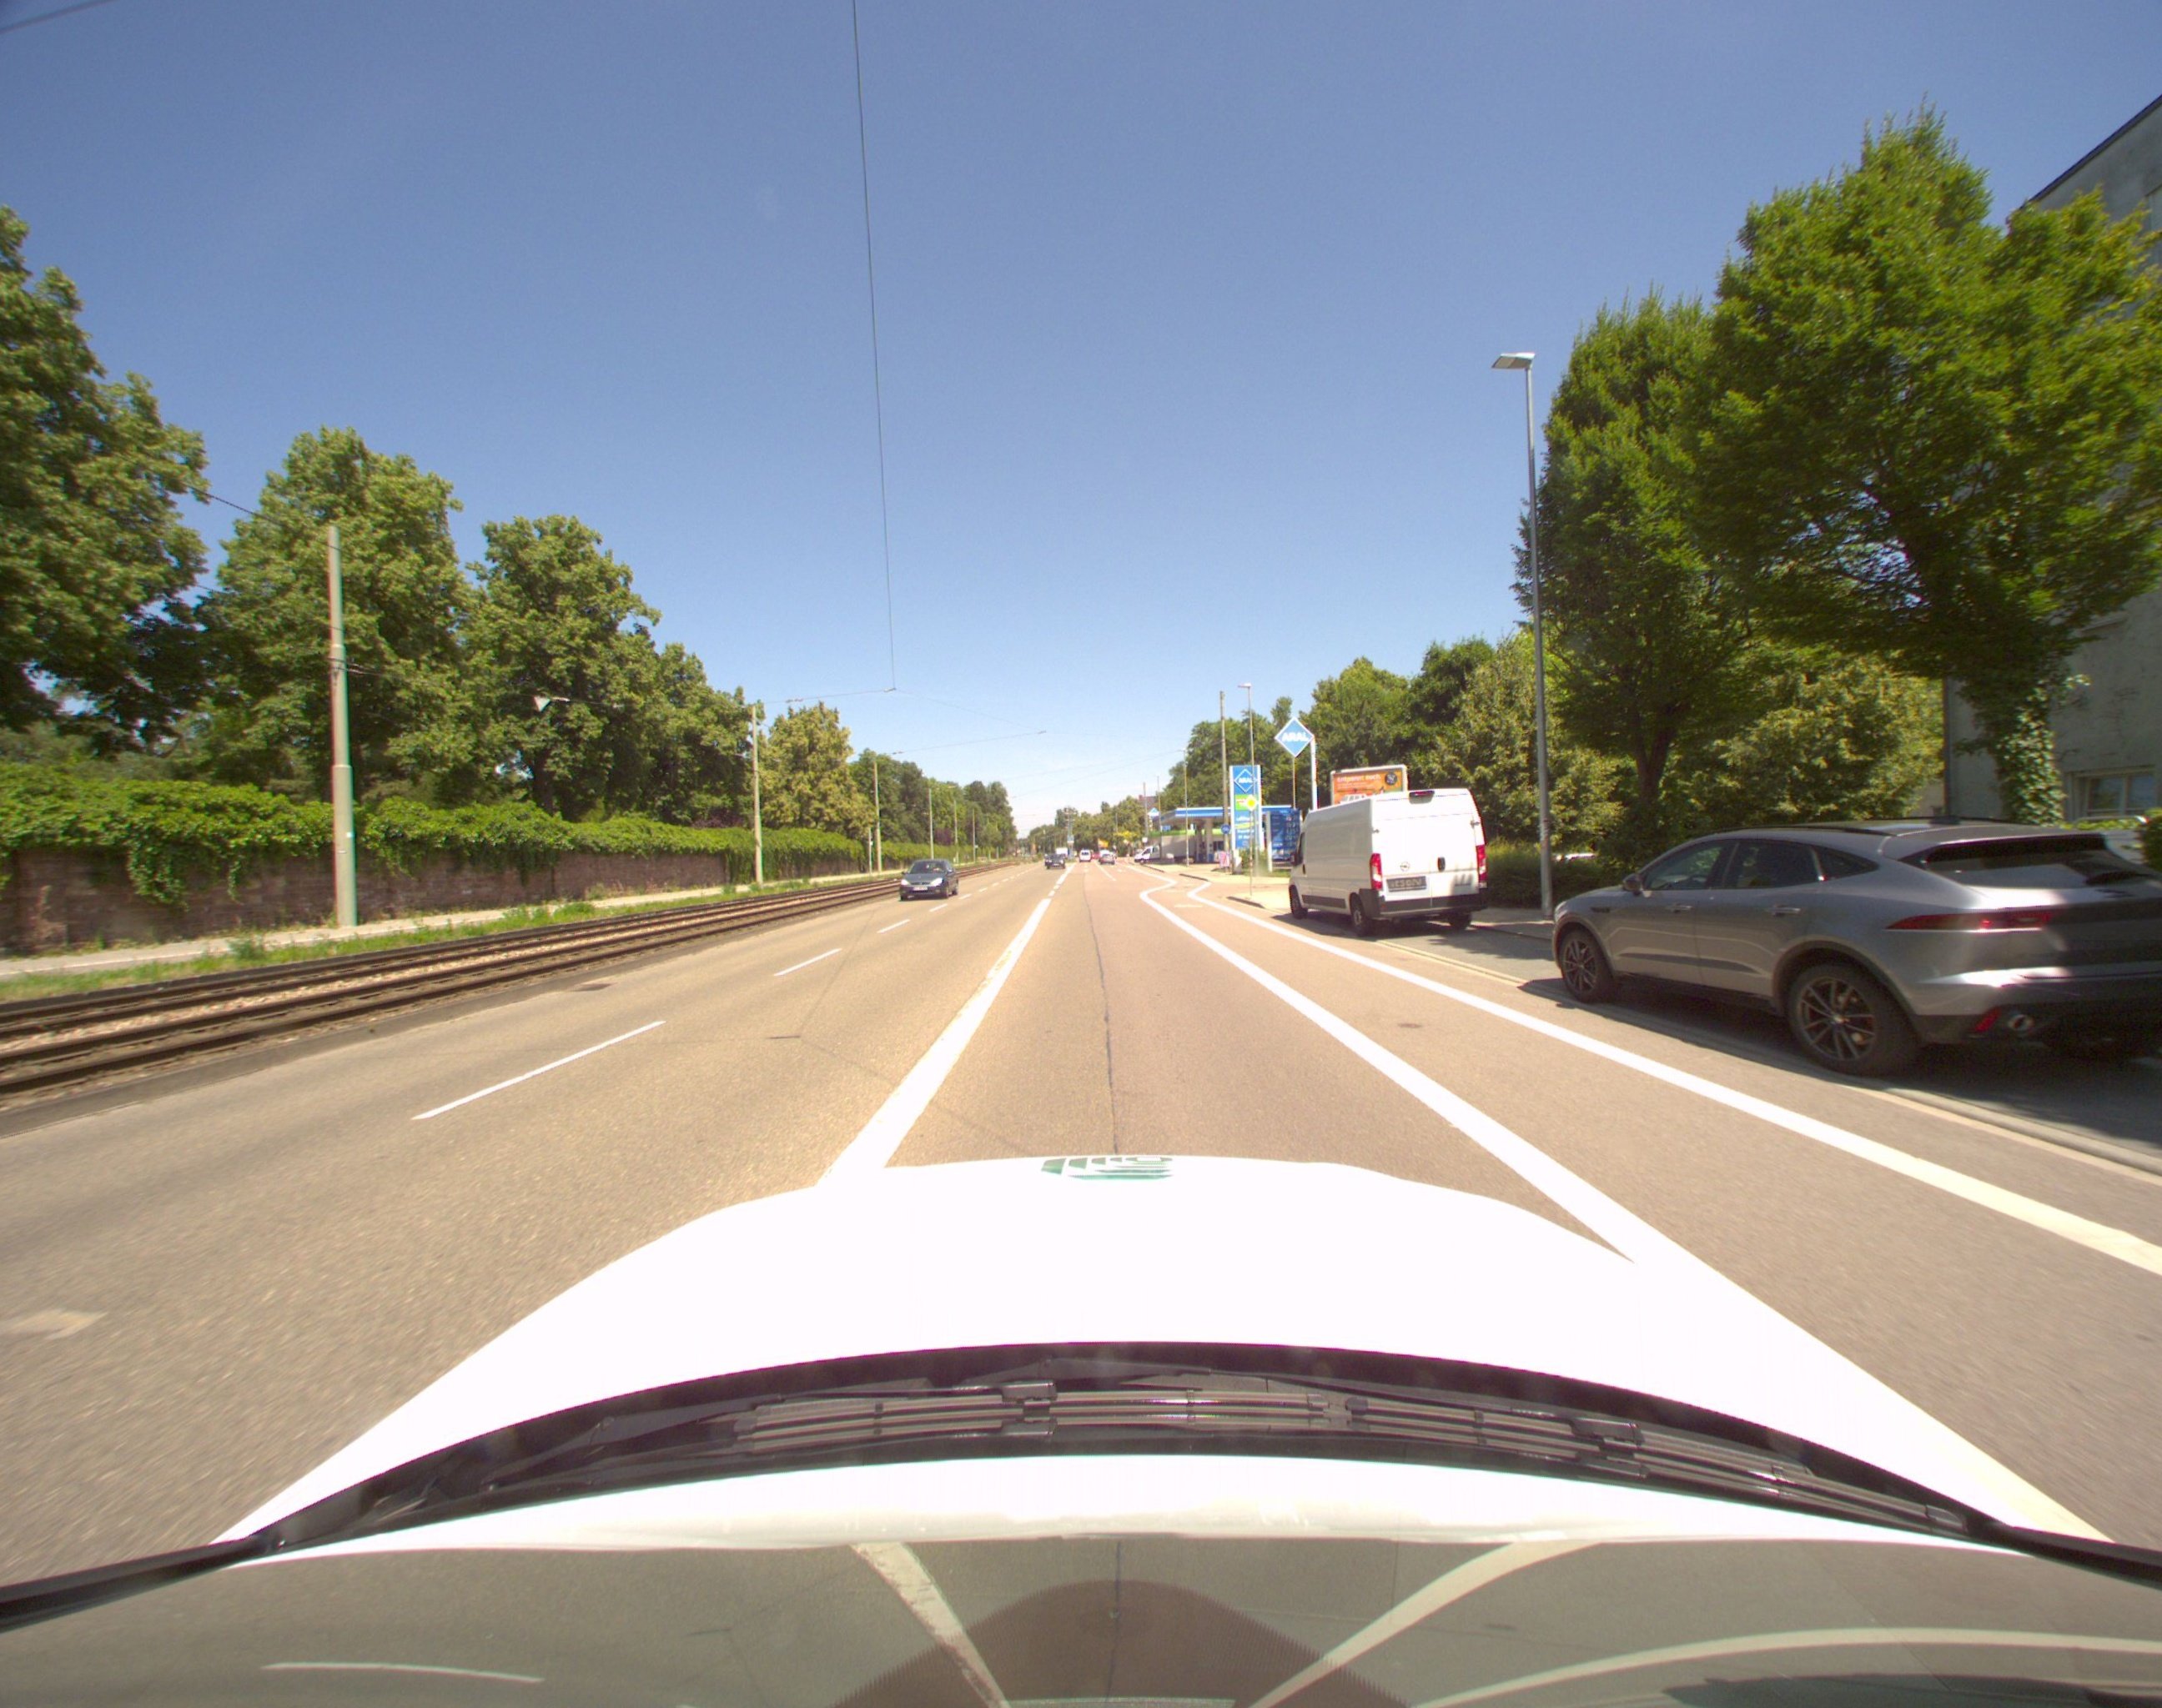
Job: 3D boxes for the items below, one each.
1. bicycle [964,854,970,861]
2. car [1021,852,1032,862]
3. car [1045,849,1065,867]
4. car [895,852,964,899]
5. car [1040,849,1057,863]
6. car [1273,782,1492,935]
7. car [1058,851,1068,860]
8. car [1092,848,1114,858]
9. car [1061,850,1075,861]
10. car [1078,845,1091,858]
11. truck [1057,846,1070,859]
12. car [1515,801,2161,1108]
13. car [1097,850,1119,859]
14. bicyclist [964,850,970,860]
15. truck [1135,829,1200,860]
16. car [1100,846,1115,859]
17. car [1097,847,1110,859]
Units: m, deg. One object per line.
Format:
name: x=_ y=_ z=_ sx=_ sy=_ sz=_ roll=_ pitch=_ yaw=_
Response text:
bicycle: x=-18.701 y=0.554 z=133.886 sx=0.679 sy=1.054 sz=2.007 roll=-6 pitch=-1 yaw=-2
car: x=-9.330 y=0.473 z=139.621 sx=1.753 sy=1.630 sz=4.315 roll=-4 pitch=0 yaw=-6
car: x=-2.489 y=0.347 z=79.575 sx=1.750 sy=1.630 sz=4.323 roll=-4 pitch=0 yaw=-1
car: x=-5.664 y=0.762 z=30.922 sx=1.750 sy=1.509 sz=4.323 roll=-4 pitch=0 yaw=-1
car: x=-4.017 y=0.246 z=100.897 sx=1.753 sy=1.630 sz=4.315 roll=-4 pitch=0 yaw=-6
car: x=5.820 y=0.050 z=16.827 sx=1.995 sy=2.456 sz=6.106 roll=-4 pitch=0 yaw=-1
car: x=-3.761 y=0.330 z=169.803 sx=1.750 sy=1.630 sz=4.324 roll=-4 pitch=0 yaw=0
car: x=4.230 y=-0.218 z=158.501 sx=1.772 sy=1.659 sz=4.270 roll=-4 pitch=0 yaw=-44
car: x=-1.975 y=0.196 z=124.769 sx=1.749 sy=1.630 sz=4.325 roll=-4 pitch=0 yaw=1
car: x=0.551 y=-0.432 z=126.954 sx=1.750 sy=1.874 sz=4.323 roll=-4 pitch=0 yaw=-1
truck: x=-3.876 y=-0.444 z=179.748 sx=2.525 sy=2.679 sz=11.817 roll=-2 pitch=1 yaw=0
car: x=5.686 y=0.540 z=6.759 sx=1.750 sy=1.630 sz=4.323 roll=-4 pitch=0 yaw=-1
car: x=5.939 y=0.171 z=177.742 sx=4.274 sy=1.630 sz=1.770 roll=-4 pitch=0 yaw=19
bicyclist: x=-18.745 y=0.132 z=133.902 sx=0.680 sy=1.574 sz=0.795 roll=-6 pitch=-1 yaw=-2
truck: x=10.743 y=-1.139 z=101.107 sx=7.925 sy=3.602 sz=2.668 roll=-2 pitch=0 yaw=7
car: x=3.469 y=-0.188 z=106.613 sx=1.750 sy=1.630 sz=4.323 roll=-4 pitch=0 yaw=-1
car: x=3.508 y=-0.157 z=127.861 sx=1.750 sy=1.630 sz=4.323 roll=-4 pitch=0 yaw=-1
